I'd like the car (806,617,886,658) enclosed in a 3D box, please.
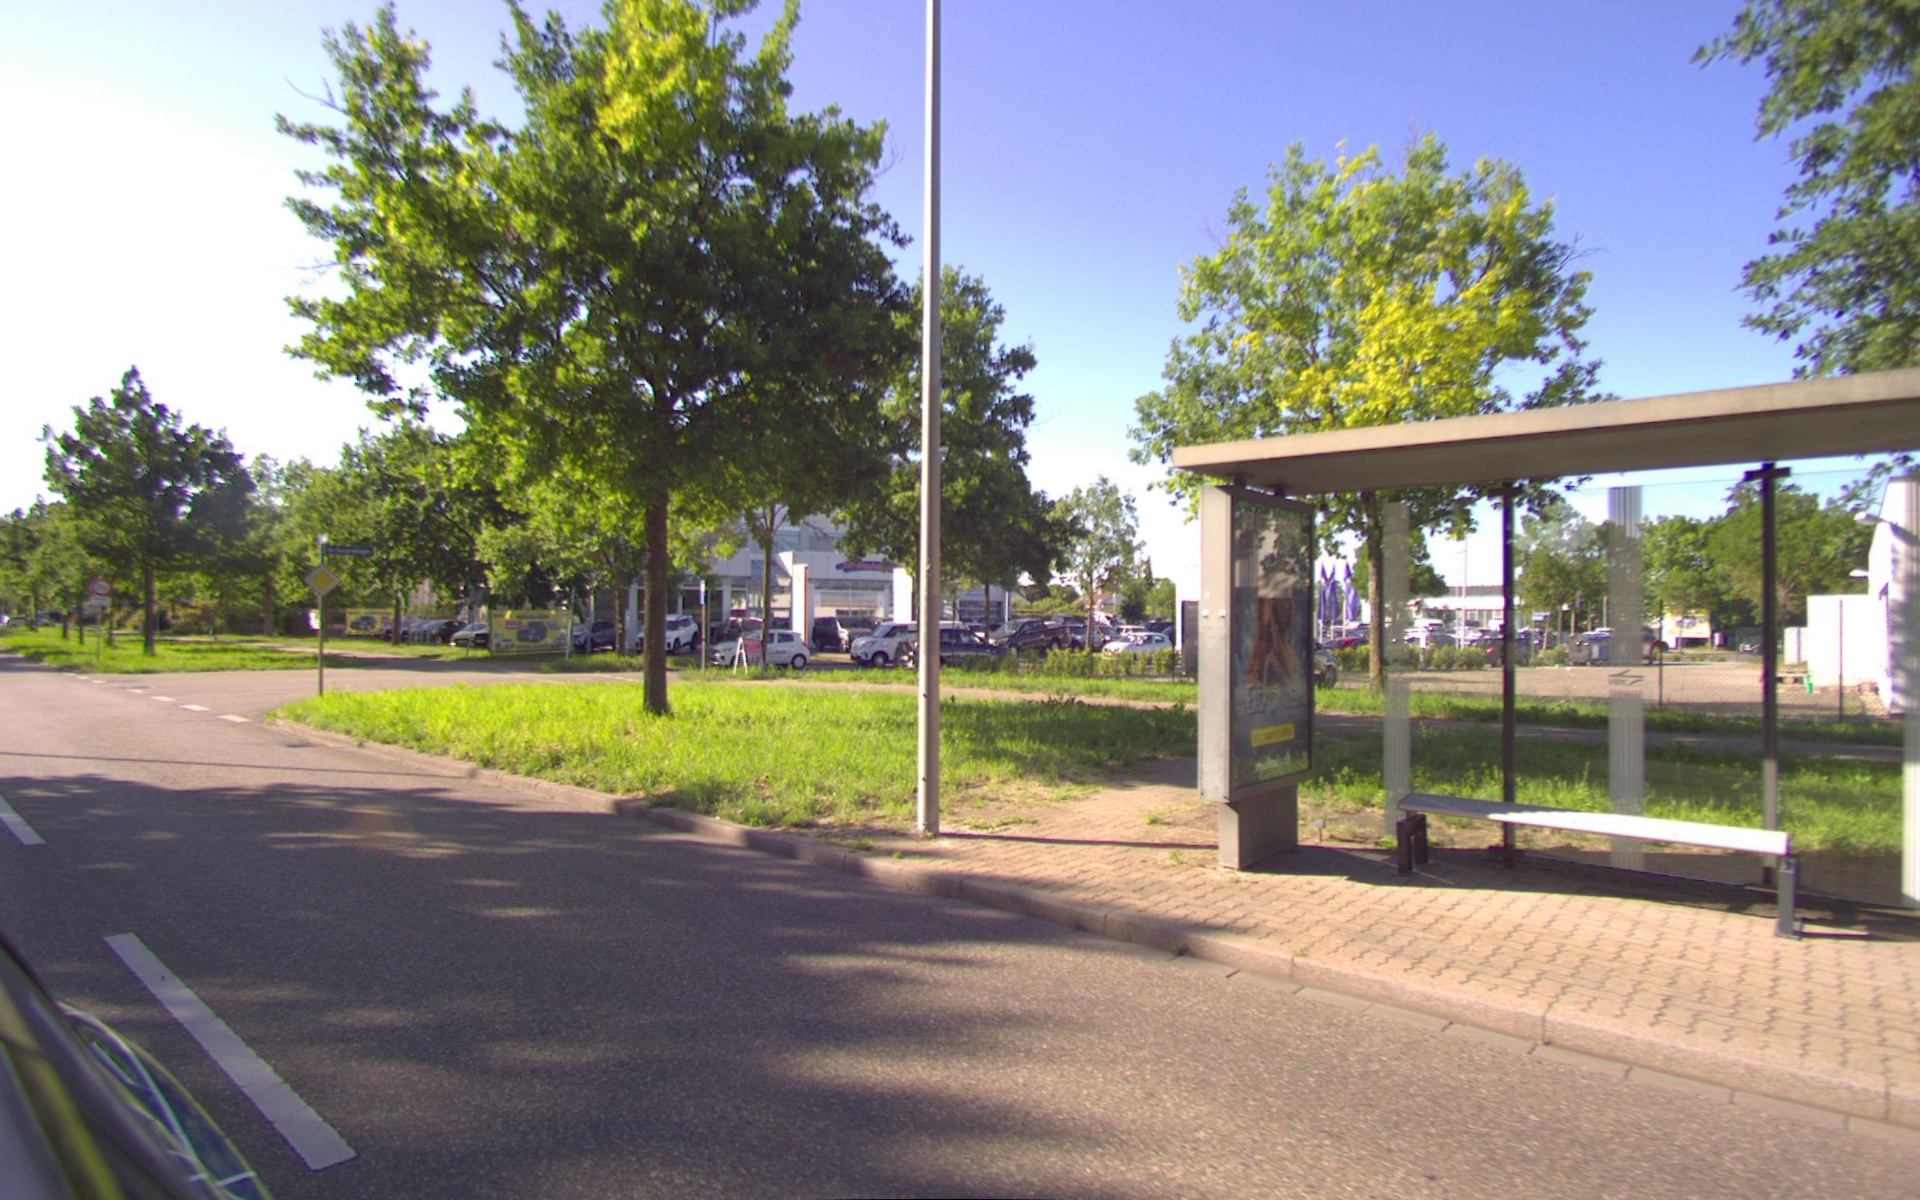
[{"bbox_3d":[-6.129,1.909,53.724,2.262,1.954,5.846,-1,0,-27],"label":"car"}]

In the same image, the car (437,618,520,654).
[{"bbox_3d":[-26.550,1.958,55.928,1.982,1.851,3.979,-1,0,16],"label":"car"}]

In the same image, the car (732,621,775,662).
[{"bbox_3d":[-10.249,1.996,50.131,1.967,1.851,4.010,-1,0,-12],"label":"car"}]

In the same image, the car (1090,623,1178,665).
[{"bbox_3d":[8.588,2.126,49.819,3.932,1.851,2.006,-1,0,-33],"label":"car"}]

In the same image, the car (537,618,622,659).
[{"bbox_3d":[-18.868,1.883,50.329,1.982,1.851,3.979,-1,0,16],"label":"car"}]

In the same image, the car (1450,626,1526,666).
[{"bbox_3d":[25.965,2.222,49.758,3.941,1.729,2.201,-1,0,-45],"label":"car"}]

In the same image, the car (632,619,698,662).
[{"bbox_3d":[-13.983,1.886,48.155,1.972,1.851,4.000,-1,0,0],"label":"car"}]

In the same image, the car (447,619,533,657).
[{"bbox_3d":[-24.637,1.959,53.235,1.982,1.851,3.979,-1,0,16],"label":"car"}]

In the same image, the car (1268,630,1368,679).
[{"bbox_3d":[15.067,2.242,42.571,3.933,1.851,2.005,-1,0,-34],"label":"car"}]

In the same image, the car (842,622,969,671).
[{"bbox_3d":[-2.291,1.910,42.783,4.963,1.851,2.006,-1,0,-27],"label":"car"}]

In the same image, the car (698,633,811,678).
[{"bbox_3d":[-7.925,2.089,39.107,3.827,1.513,2.006,-1,0,-29],"label":"car"}]

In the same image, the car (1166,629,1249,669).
[{"bbox_3d":[12.820,2.519,52.364,3.932,1.851,2.006,-1,0,-33],"label":"car"}]
